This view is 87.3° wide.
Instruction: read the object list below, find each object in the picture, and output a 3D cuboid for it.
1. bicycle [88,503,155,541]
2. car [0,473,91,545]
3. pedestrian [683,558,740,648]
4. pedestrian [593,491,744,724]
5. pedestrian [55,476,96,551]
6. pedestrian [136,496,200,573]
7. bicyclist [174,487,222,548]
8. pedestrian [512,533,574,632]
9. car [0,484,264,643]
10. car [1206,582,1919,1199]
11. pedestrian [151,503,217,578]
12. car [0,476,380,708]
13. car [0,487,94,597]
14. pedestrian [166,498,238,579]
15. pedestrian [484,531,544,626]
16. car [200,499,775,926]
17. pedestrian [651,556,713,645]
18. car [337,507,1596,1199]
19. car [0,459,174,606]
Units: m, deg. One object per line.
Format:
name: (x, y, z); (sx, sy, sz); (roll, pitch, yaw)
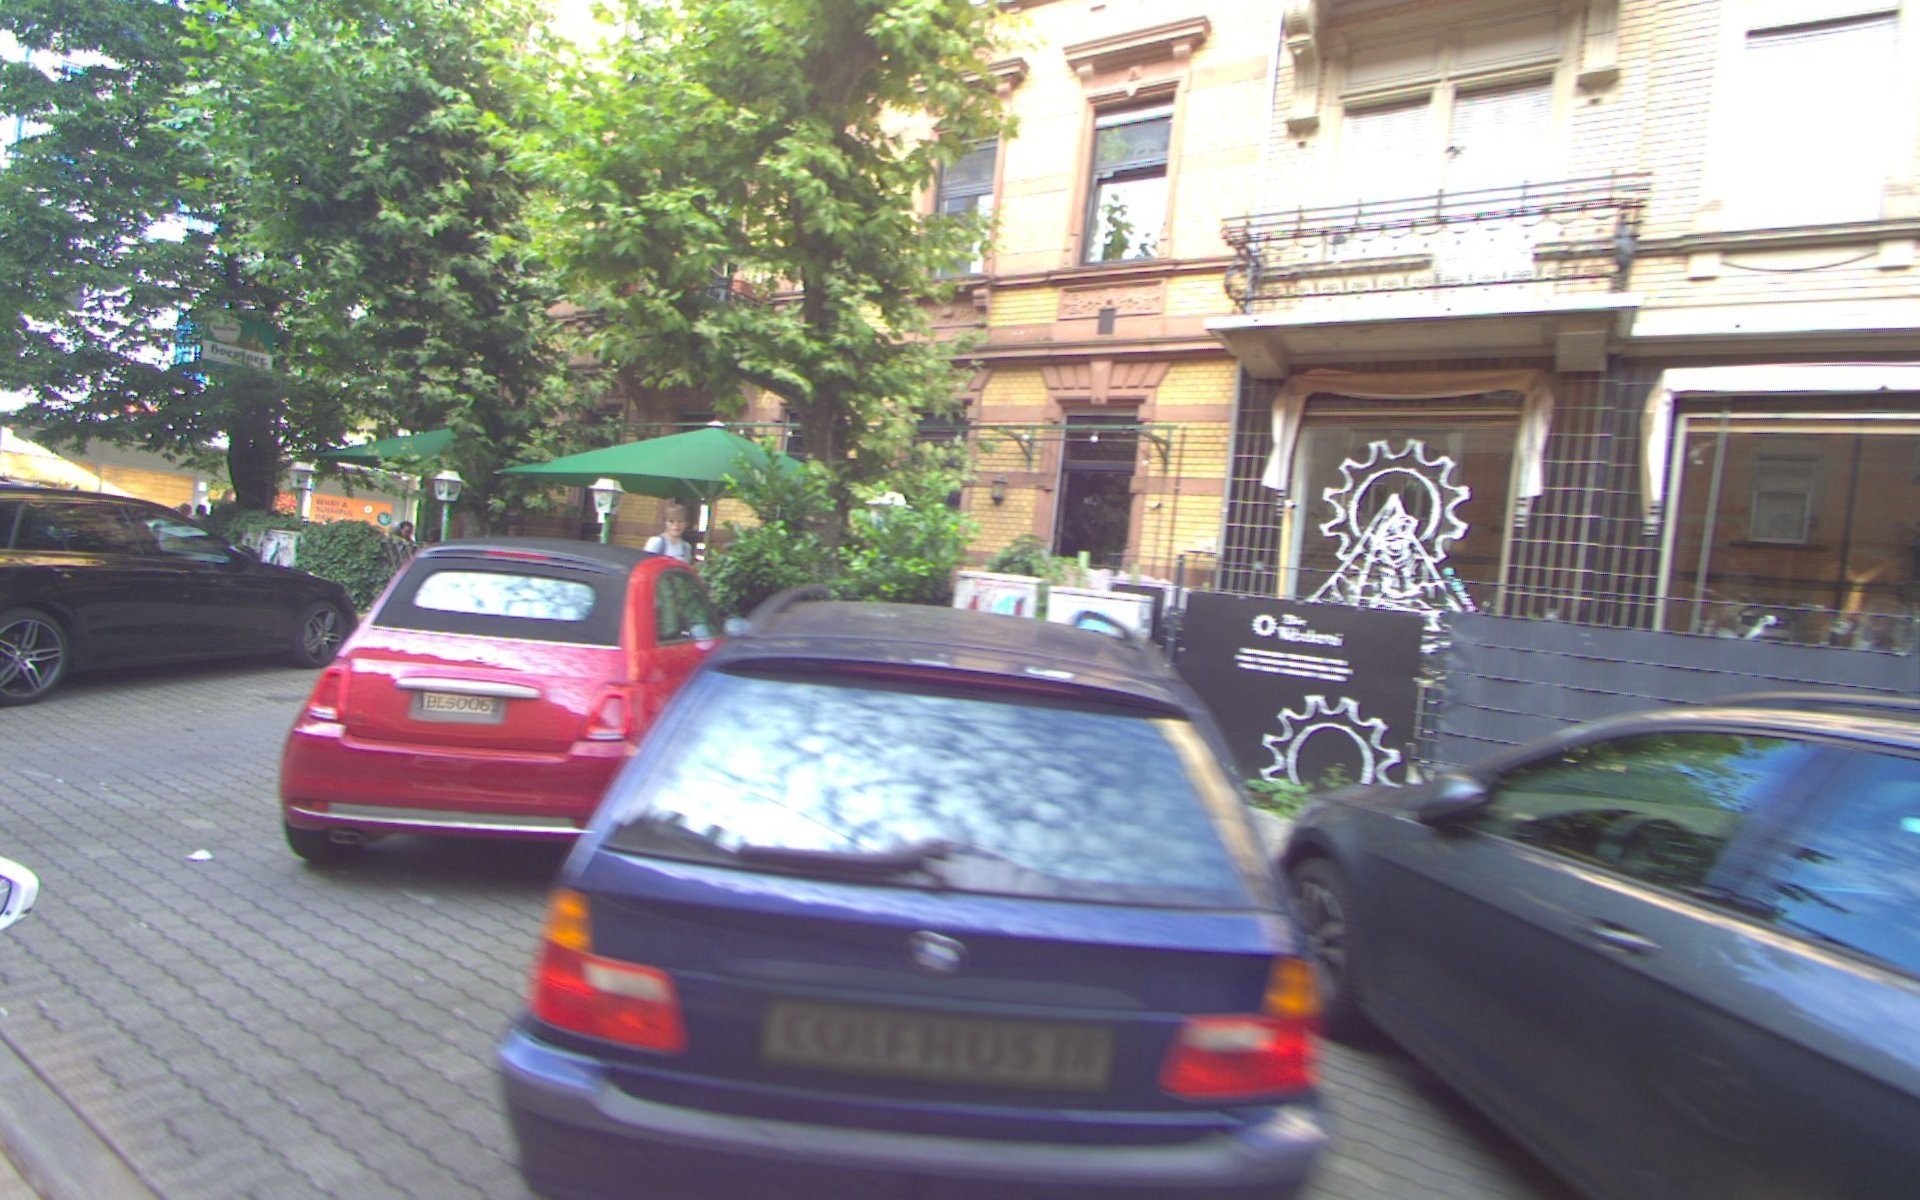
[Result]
bicycle: (-29.102, -2.704, 34.935); (1.660, 1.063, 0.456); (6, 1, -18)
car: (-27.234, -2.680, 27.482); (4.772, 1.747, 2.033); (7, 2, -17)
pedestrian: (-3.587, 0.036, 14.534); (0.553, 1.236, 0.466); (6, 3, 23)
pedestrian: (-2.535, 0.069, 8.771); (0.712, 1.902, 0.839); (7, 2, 36)
pedestrian: (-22.105, -2.166, 25.139); (0.765, 1.761, 0.627); (7, 2, 45)
pedestrian: (-15.668, -1.286, 19.914); (0.539, 1.410, 0.758); (7, 1, 28)
bicyclist: (-23.016, -2.490, 30.386); (1.008, 1.689, 0.933); (6, 1, -39)
pedestrian: (-7.075, -0.293, 17.081); (0.560, 1.590, 0.629); (7, 2, 28)
car: (-9.705, -0.432, 10.077); (1.906, 1.475, 4.416); (7, 0, 8)
car: (2.338, 0.904, 2.300); (1.856, 1.497, 4.458); (6, 3, -7)
pedestrian: (-15.162, -1.151, 19.660); (0.586, 1.359, 0.758); (7, 1, 28)
car: (-7.182, -0.170, 7.988); (2.018, 1.476, 4.765); (7, 2, 4)
car: (-13.959, -0.909, 13.063); (1.736, 1.475, 3.945); (7, 0, 4)
pedestrian: (-14.561, -1.183, 19.344); (0.690, 1.424, 0.798); (7, 1, 28)
pedestrian: (-7.841, -0.371, 17.695); (0.560, 1.590, 0.629); (7, 2, 28)
car: (-2.168, 0.404, 5.779); (1.710, 1.504, 3.713); (6, 1, -6)
pedestrian: (-4.107, 0.003, 14.851); (0.638, 1.236, 0.487); (6, 3, 24)
car: (-0.076, 0.625, 3.798); (1.845, 1.484, 4.462); (7, 2, -2)
car: (-11.827, -0.859, 11.572); (1.787, 1.667, 4.352); (6, 2, 6)
